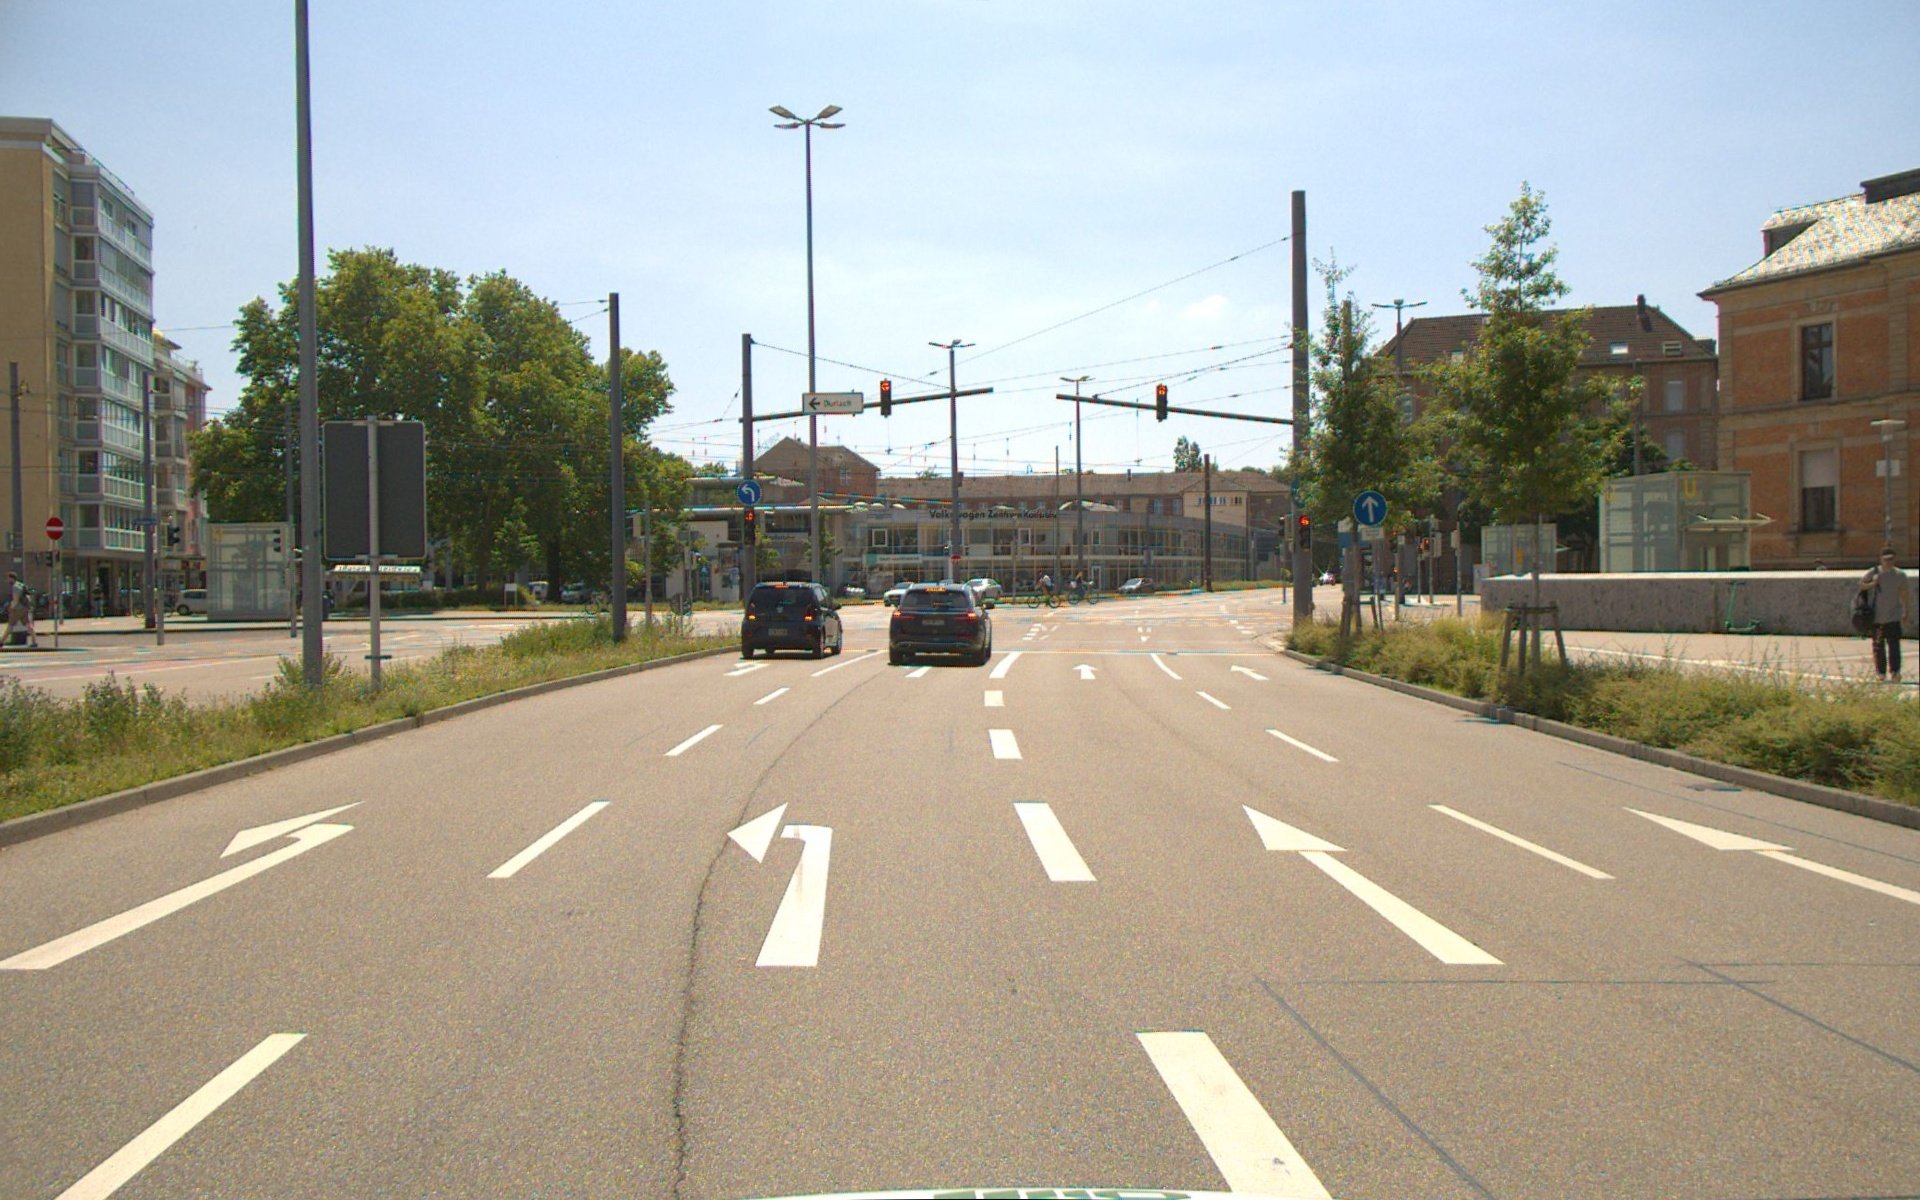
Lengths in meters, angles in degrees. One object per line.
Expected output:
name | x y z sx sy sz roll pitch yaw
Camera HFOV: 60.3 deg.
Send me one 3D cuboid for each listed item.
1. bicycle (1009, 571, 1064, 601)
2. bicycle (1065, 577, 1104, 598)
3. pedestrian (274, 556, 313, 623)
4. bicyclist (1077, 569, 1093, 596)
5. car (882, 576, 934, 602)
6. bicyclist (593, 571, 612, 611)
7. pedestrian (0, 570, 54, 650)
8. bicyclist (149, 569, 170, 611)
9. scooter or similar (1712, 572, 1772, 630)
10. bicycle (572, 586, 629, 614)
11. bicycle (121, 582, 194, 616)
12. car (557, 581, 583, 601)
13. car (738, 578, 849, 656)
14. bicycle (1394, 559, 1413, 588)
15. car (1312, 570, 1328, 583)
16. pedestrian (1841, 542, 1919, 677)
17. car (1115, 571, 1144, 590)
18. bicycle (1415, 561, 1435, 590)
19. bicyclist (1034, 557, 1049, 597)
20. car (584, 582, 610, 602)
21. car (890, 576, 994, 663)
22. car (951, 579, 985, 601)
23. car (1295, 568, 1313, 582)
bicycle | 3.849 -0.729 83.180 2.767 1.488 0.634 0 2 2
bicycle | 6.878 -0.685 91.268 2.124 1.126 0.455 -1 2 -14
pedestrian | -30.387 -0.483 75.463 1.189 2.988 1.337 0 2 1
bicyclist | 6.904 -0.973 91.261 0.719 1.505 0.653 -1 2 -15
car | -3.036 -0.654 96.801 1.586 1.414 4.125 -1 1 21
bicyclist | -18.121 -0.436 83.839 0.829 1.999 0.626 0 2 -4
pedestrian | -23.710 0.250 41.751 1.155 1.966 0.902 0 2 -3
bicyclist | -41.399 -0.530 85.520 0.733 2.142 0.764 -2 3 -44
scooter or similar | 17.043 0.009 36.066 0.390 1.187 1.284 -1 3 -18
bicycle | -18.202 0.005 83.854 2.719 1.409 0.670 0 2 -4
bicycle | -41.447 -0.053 85.491 3.297 1.623 0.806 -3 3 -43
car | -32.037 -0.751 135.915 1.396 1.534 3.438 0 3 -2
car | -3.316 0.305 33.566 1.587 1.489 4.002 0 1 4
bicycle | 29.497 -1.755 110.090 0.599 1.819 3.184 0 3 4
car | 46.880 -3.093 215.472 1.552 1.555 3.718 0 3 4
pedestrian | 12.102 0.112 21.662 0.716 1.735 0.811 0 1 5
car | 14.016 -1.631 136.780 1.538 1.452 3.615 1 3 19
bicycle | 30.891 -1.672 109.912 0.599 1.819 3.184 0 3 4
bicyclist | 4.110 -1.170 83.145 0.747 1.971 0.660 0 2 2
car | -29.704 -0.673 135.389 1.479 1.443 3.421 0 3 -2
car | -0.281 0.331 32.448 1.680 1.584 4.589 -1 1 4
car | 0.550 -0.686 108.779 1.401 1.307 3.264 1 3 16
car | 40.121 -2.939 192.840 1.498 1.484 3.555 0 3 4
